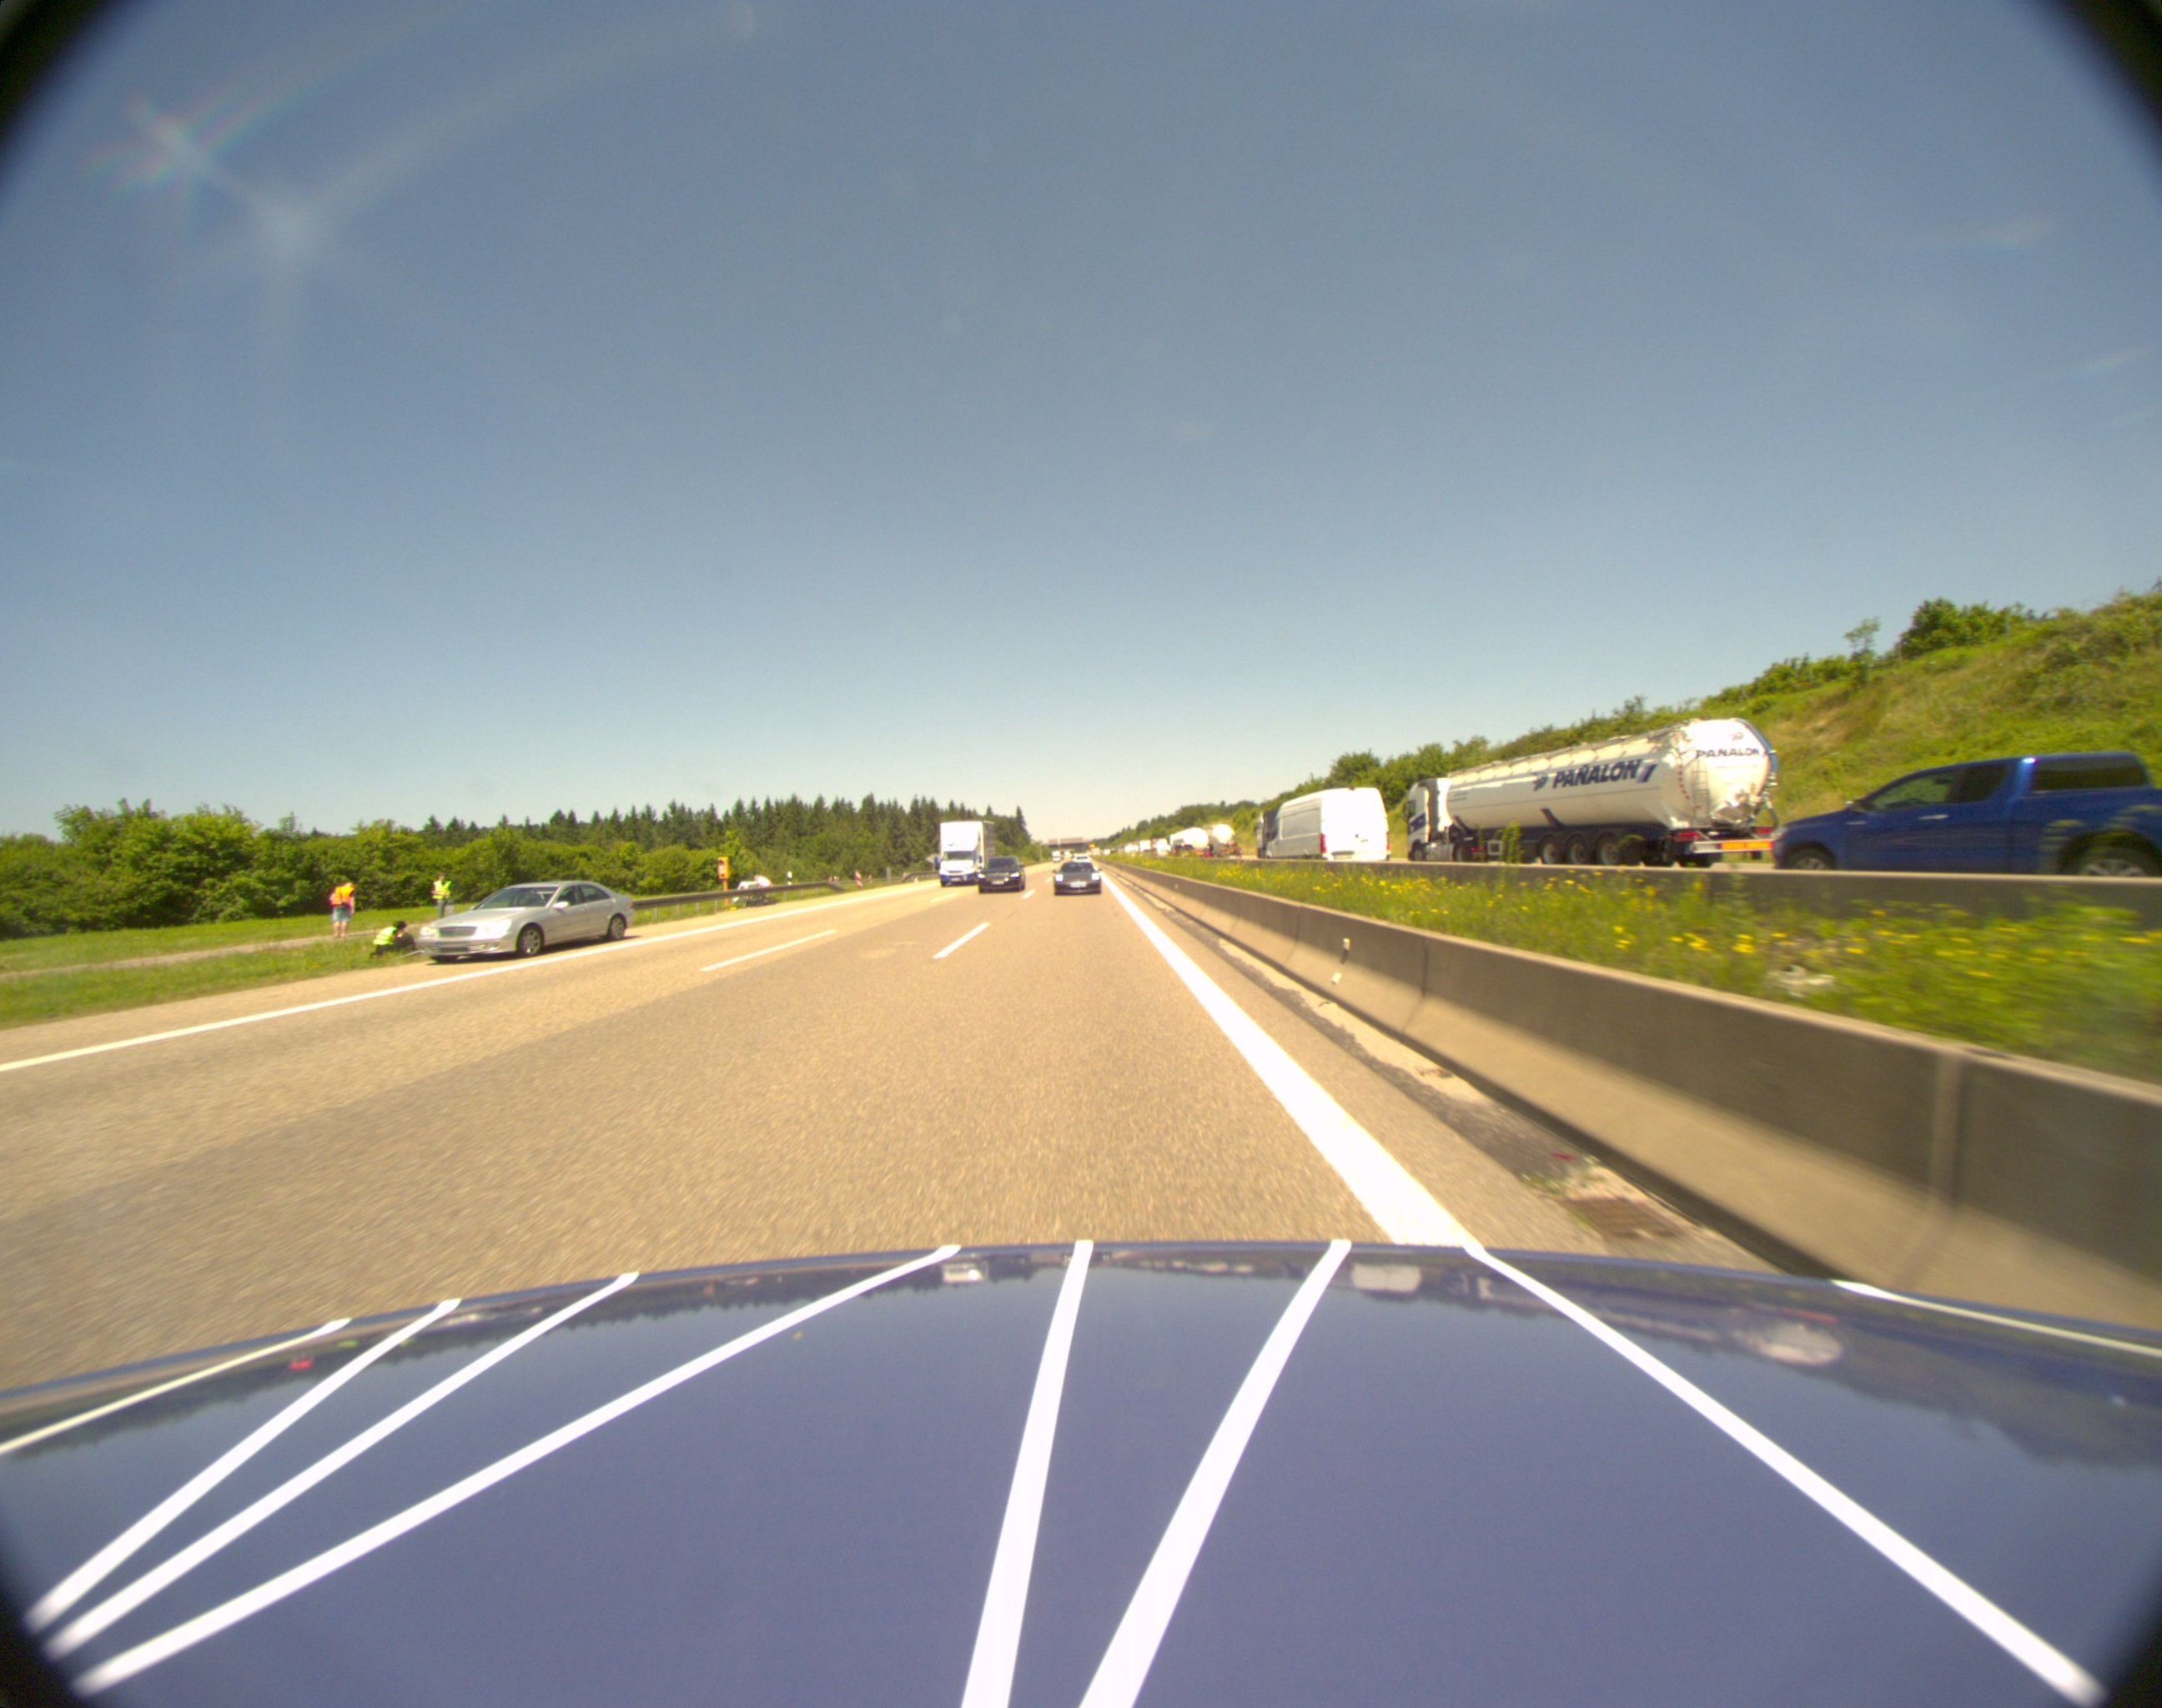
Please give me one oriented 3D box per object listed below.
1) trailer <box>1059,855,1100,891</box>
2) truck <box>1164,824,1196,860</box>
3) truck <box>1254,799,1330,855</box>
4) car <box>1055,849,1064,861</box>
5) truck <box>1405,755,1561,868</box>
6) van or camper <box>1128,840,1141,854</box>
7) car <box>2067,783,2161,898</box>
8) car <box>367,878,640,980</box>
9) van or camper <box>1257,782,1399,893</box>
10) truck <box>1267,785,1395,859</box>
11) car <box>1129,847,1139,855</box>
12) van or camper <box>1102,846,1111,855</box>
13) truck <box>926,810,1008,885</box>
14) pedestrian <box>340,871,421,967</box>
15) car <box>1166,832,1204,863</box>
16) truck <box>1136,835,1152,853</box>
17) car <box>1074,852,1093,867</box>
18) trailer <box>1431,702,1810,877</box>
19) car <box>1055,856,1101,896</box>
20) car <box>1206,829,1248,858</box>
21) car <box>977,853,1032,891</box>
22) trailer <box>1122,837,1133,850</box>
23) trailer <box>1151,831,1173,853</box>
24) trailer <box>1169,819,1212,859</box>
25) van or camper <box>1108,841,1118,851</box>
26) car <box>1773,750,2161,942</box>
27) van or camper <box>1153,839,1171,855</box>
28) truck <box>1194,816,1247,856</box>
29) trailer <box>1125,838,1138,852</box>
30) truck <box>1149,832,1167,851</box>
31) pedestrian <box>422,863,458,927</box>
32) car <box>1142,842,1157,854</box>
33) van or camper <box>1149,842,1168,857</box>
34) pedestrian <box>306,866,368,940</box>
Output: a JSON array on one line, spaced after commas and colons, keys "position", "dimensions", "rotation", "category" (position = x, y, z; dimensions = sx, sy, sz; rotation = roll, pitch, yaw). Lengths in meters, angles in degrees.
[{"position": [-0.064, 0.824, 34.210], "dimensions": [1.689, 1.399, 3.046], "rotation": [-3, 0, 0], "category": "trailer"}, {"position": [11.505, -1.370, 89.209], "dimensions": [2.624, 3.867, 7.401], "rotation": [-3, 1, 0], "category": "truck"}, {"position": [16.225, -1.997, 59.099], "dimensions": [3.518, 3.887, 8.144], "rotation": [-3, 1, 0], "category": "truck"}, {"position": [-6.521, 0.330, 231.389], "dimensions": [2.303, 3.317, 7.620], "rotation": [-5, 1, -2], "category": "car"}, {"position": [15.517, -1.524, 29.921], "dimensions": [2.699, 3.856, 6.316], "rotation": [-2, 1, 0], "category": "truck"}, {"position": [12.635, -1.655, 179.493], "dimensions": [2.551, 2.920, 8.130], "rotation": [-4, 1, 2], "category": "van or camper"}, {"position": [15.204, -0.199, 8.736], "dimensions": [1.801, 1.530, 4.584], "rotation": [-2, 1, 0], "category": "car"}, {"position": [-11.154, 1.345, 15.242], "dimensions": [1.718, 1.432, 4.767], "rotation": [-3, 1, 1], "category": "car"}, {"position": [7.677, -0.498, 24.721], "dimensions": [1.998, 2.861, 7.640], "rotation": [-5, 1, 1], "category": "van or camper"}, {"position": [16.195, -1.831, 51.095], "dimensions": [3.587, 4.069, 15.005], "rotation": [-3, 0, 0], "category": "truck"}, {"position": [11.823, -0.606, 169.117], "dimensions": [1.887, 1.618, 4.358], "rotation": [-4, 1, 0], "category": "car"}, {"position": [7.912, -1.145, 236.550], "dimensions": [2.199, 2.526, 6.415], "rotation": [-4, 1, 0], "category": "van or camper"}, {"position": [-6.980, -0.438, 48.212], "dimensions": [2.789, 4.104, 9.741], "rotation": [-5, 1, 4], "category": "truck"}, {"position": [-15.228, 1.396, 16.533], "dimensions": [0.772, 1.954, 1.011], "rotation": [-5, 1, 37], "category": "pedestrian"}, {"position": [7.781, -0.518, 57.444], "dimensions": [2.091, 2.051, 5.058], "rotation": [-5, 1, 1], "category": "car"}, {"position": [15.760, -2.501, 190.089], "dimensions": [2.527, 4.300, 12.420], "rotation": [-5, 1, 0], "category": "truck"}, {"position": [0.222, 0.564, 79.632], "dimensions": [1.719, 1.432, 4.456], "rotation": [-4, 1, -1], "category": "car"}, {"position": [15.429, -1.540, 24.053], "dimensions": [2.686, 3.927, 13.243], "rotation": [-2, 1, 1], "category": "trailer"}, {"position": [-0.076, 0.822, 30.941], "dimensions": [1.718, 1.432, 4.457], "rotation": [-1, 1, 1], "category": "car"}, {"position": [11.814, -0.809, 61.650], "dimensions": [2.091, 2.051, 5.057], "rotation": [-5, 1, -2], "category": "car"}, {"position": [-3.454, 0.811, 35.157], "dimensions": [1.989, 1.609, 4.458], "rotation": [-2, -1, 1], "category": "car"}, {"position": [16.031, -3.528, 261.969], "dimensions": [2.796, 4.216, 10.791], "rotation": [-4, 1, 0], "category": "trailer"}, {"position": [16.090, -2.459, 151.714], "dimensions": [2.686, 3.927, 12.271], "rotation": [-6, 1, 0], "category": "trailer"}, {"position": [11.589, -1.540, 81.553], "dimensions": [2.686, 3.927, 11.644], "rotation": [-2, 0, -1], "category": "trailer"}, {"position": [11.043, -2.765, 259.651], "dimensions": [2.849, 2.931, 8.112], "rotation": [-5, 1, 0], "category": "van or camper"}, {"position": [11.164, -0.116, 8.399], "dimensions": [1.801, 1.823, 5.745], "rotation": [-2, 1, 0], "category": "car"}, {"position": [11.598, -1.017, 108.832], "dimensions": [1.999, 2.140, 4.717], "rotation": [-3, 1, 0], "category": "van or camper"}, {"position": [15.812, -1.881, 87.275], "dimensions": [3.587, 4.069, 12.579], "rotation": [-4, 0, 0], "category": "truck"}, {"position": [15.766, -2.696, 238.899], "dimensions": [2.788, 4.010, 12.249], "rotation": [-5, 1, 0], "category": "trailer"}, {"position": [16.025, -2.587, 159.090], "dimensions": [2.790, 3.801, 6.031], "rotation": [-5, 1, 0], "category": "truck"}, {"position": [-21.661, 1.375, 25.669], "dimensions": [0.691, 2.068, 0.926], "rotation": [-6, 1, -44], "category": "pedestrian"}, {"position": [11.745, -1.079, 130.453], "dimensions": [2.028, 1.947, 5.094], "rotation": [-4, 1, 0], "category": "car"}, {"position": [11.652, -0.711, 114.534], "dimensions": [1.999, 2.140, 5.954], "rotation": [-3, 1, 0], "category": "van or camper"}, {"position": [-22.069, 1.443, 22.555], "dimensions": [0.689, 2.068, 0.928], "rotation": [-5, 1, 1], "category": "pedestrian"}]
